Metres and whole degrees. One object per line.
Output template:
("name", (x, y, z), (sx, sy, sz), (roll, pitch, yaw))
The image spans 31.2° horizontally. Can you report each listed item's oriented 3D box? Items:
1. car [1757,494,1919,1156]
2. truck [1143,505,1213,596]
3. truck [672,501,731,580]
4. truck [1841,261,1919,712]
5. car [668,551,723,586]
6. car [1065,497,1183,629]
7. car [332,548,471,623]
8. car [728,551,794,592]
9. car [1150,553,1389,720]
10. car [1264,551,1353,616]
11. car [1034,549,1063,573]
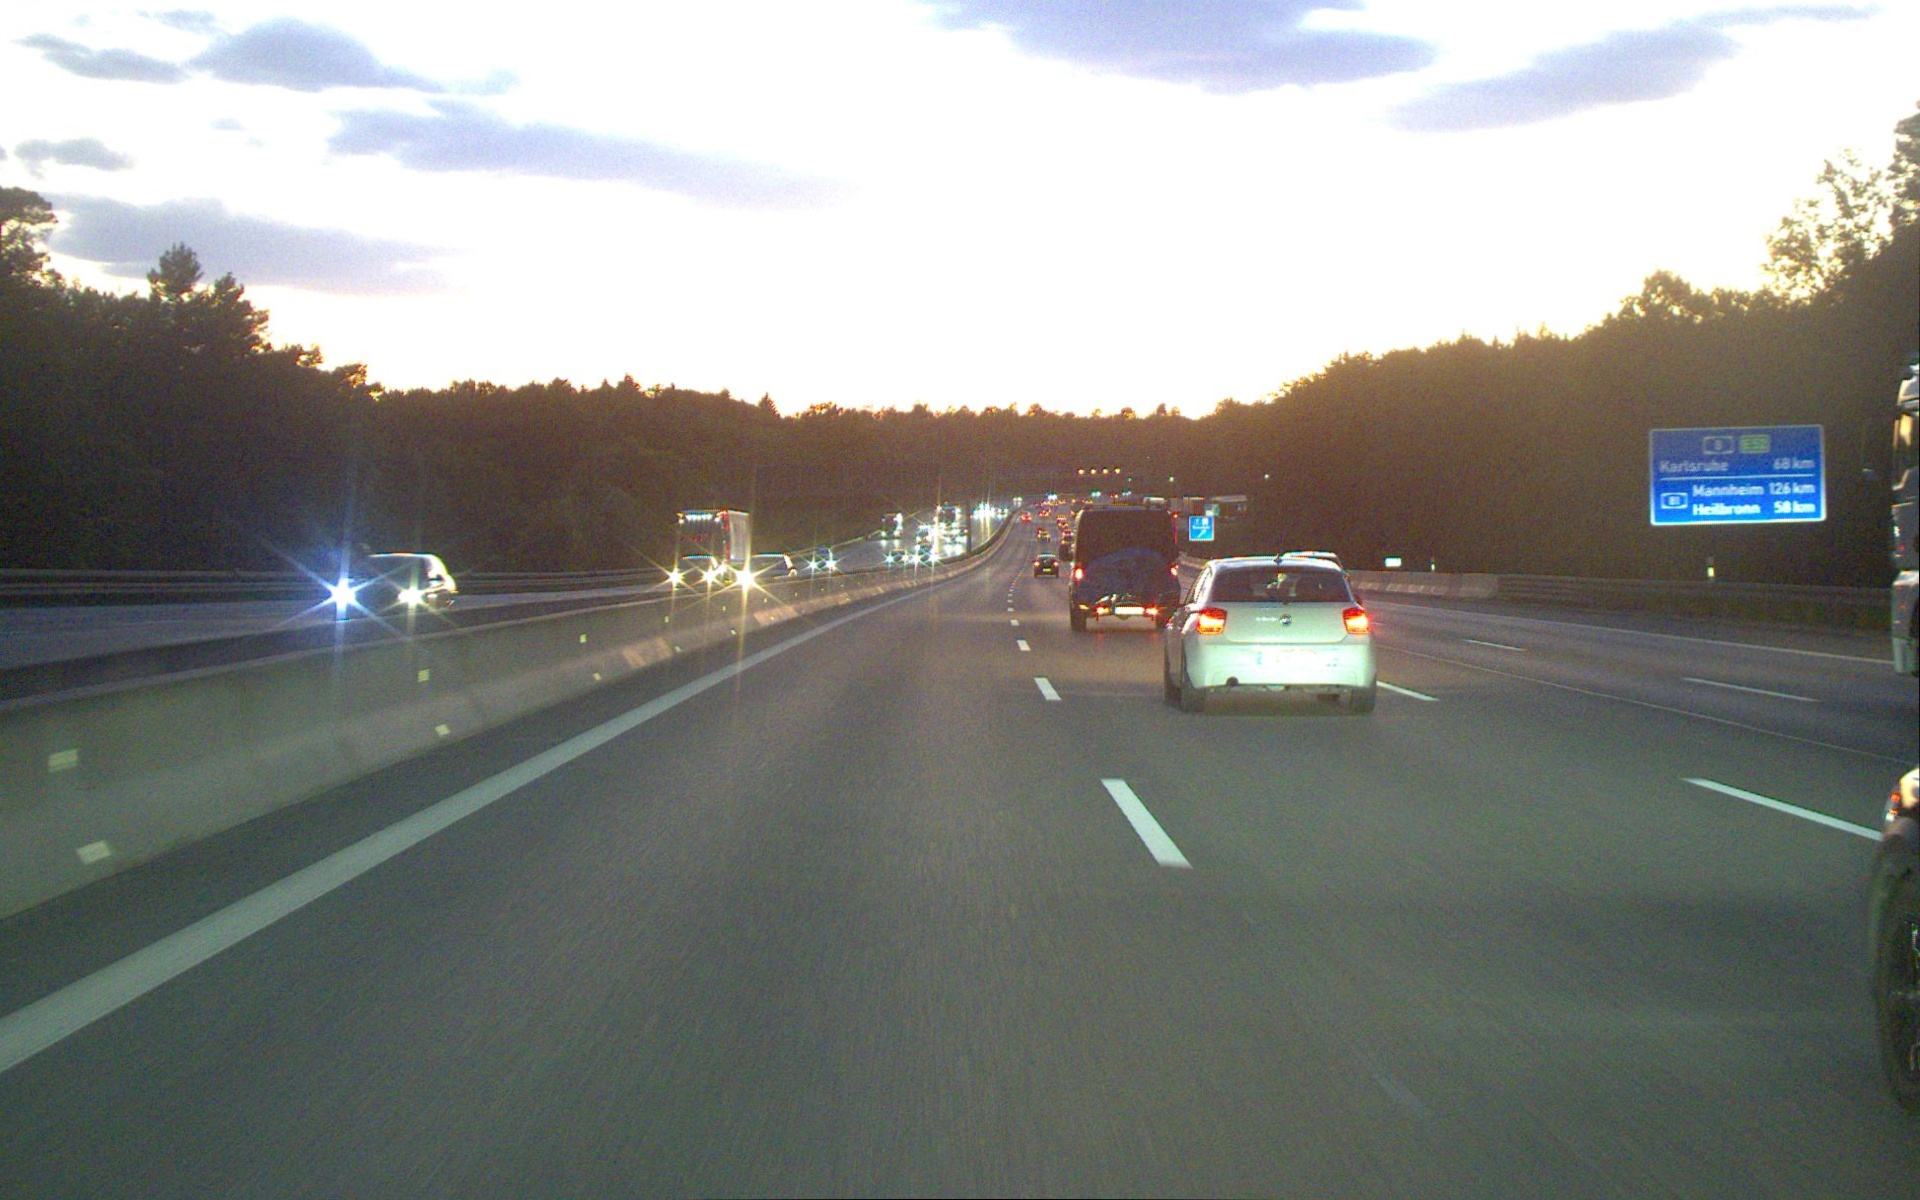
("car", (3.340, 0.570, 7.610), (1.903, 1.638, 5.052), (0, 1, -1))
("truck", (14.465, -3.275, 229.403), (4.149, 5.836, 14.296), (0, 1, 2))
("truck", (-13.657, -3.151, 182.130), (2.649, 4.117, 6.525), (0, 1, 0))
("truck", (10.125, -0.991, 28.499), (2.885, 4.086, 10.832), (0, 1, 0))
("car", (-10.595, -1.271, 138.038), (1.776, 1.396, 4.939), (0, 1, 0))
("car", (3.192, -0.715, 66.180), (2.166, 2.410, 5.563), (0, 1, 3))
("car", (-11.161, -0.316, 69.046), (1.755, 1.424, 5.363), (1, 1, 2))
("car", (-6.954, -1.024, 120.386), (1.993, 1.396, 4.688), (0, 1, 0))
("car", (2.839, 0.297, 32.294), (1.859, 1.437, 3.721), (0, 1, -1))
("car", (8.504, -0.421, 84.157), (2.008, 1.533, 4.000), (0, 1, 3))
("car", (5.868, -2.598, 227.588), (1.837, 1.565, 4.000), (0, 1, 3))
